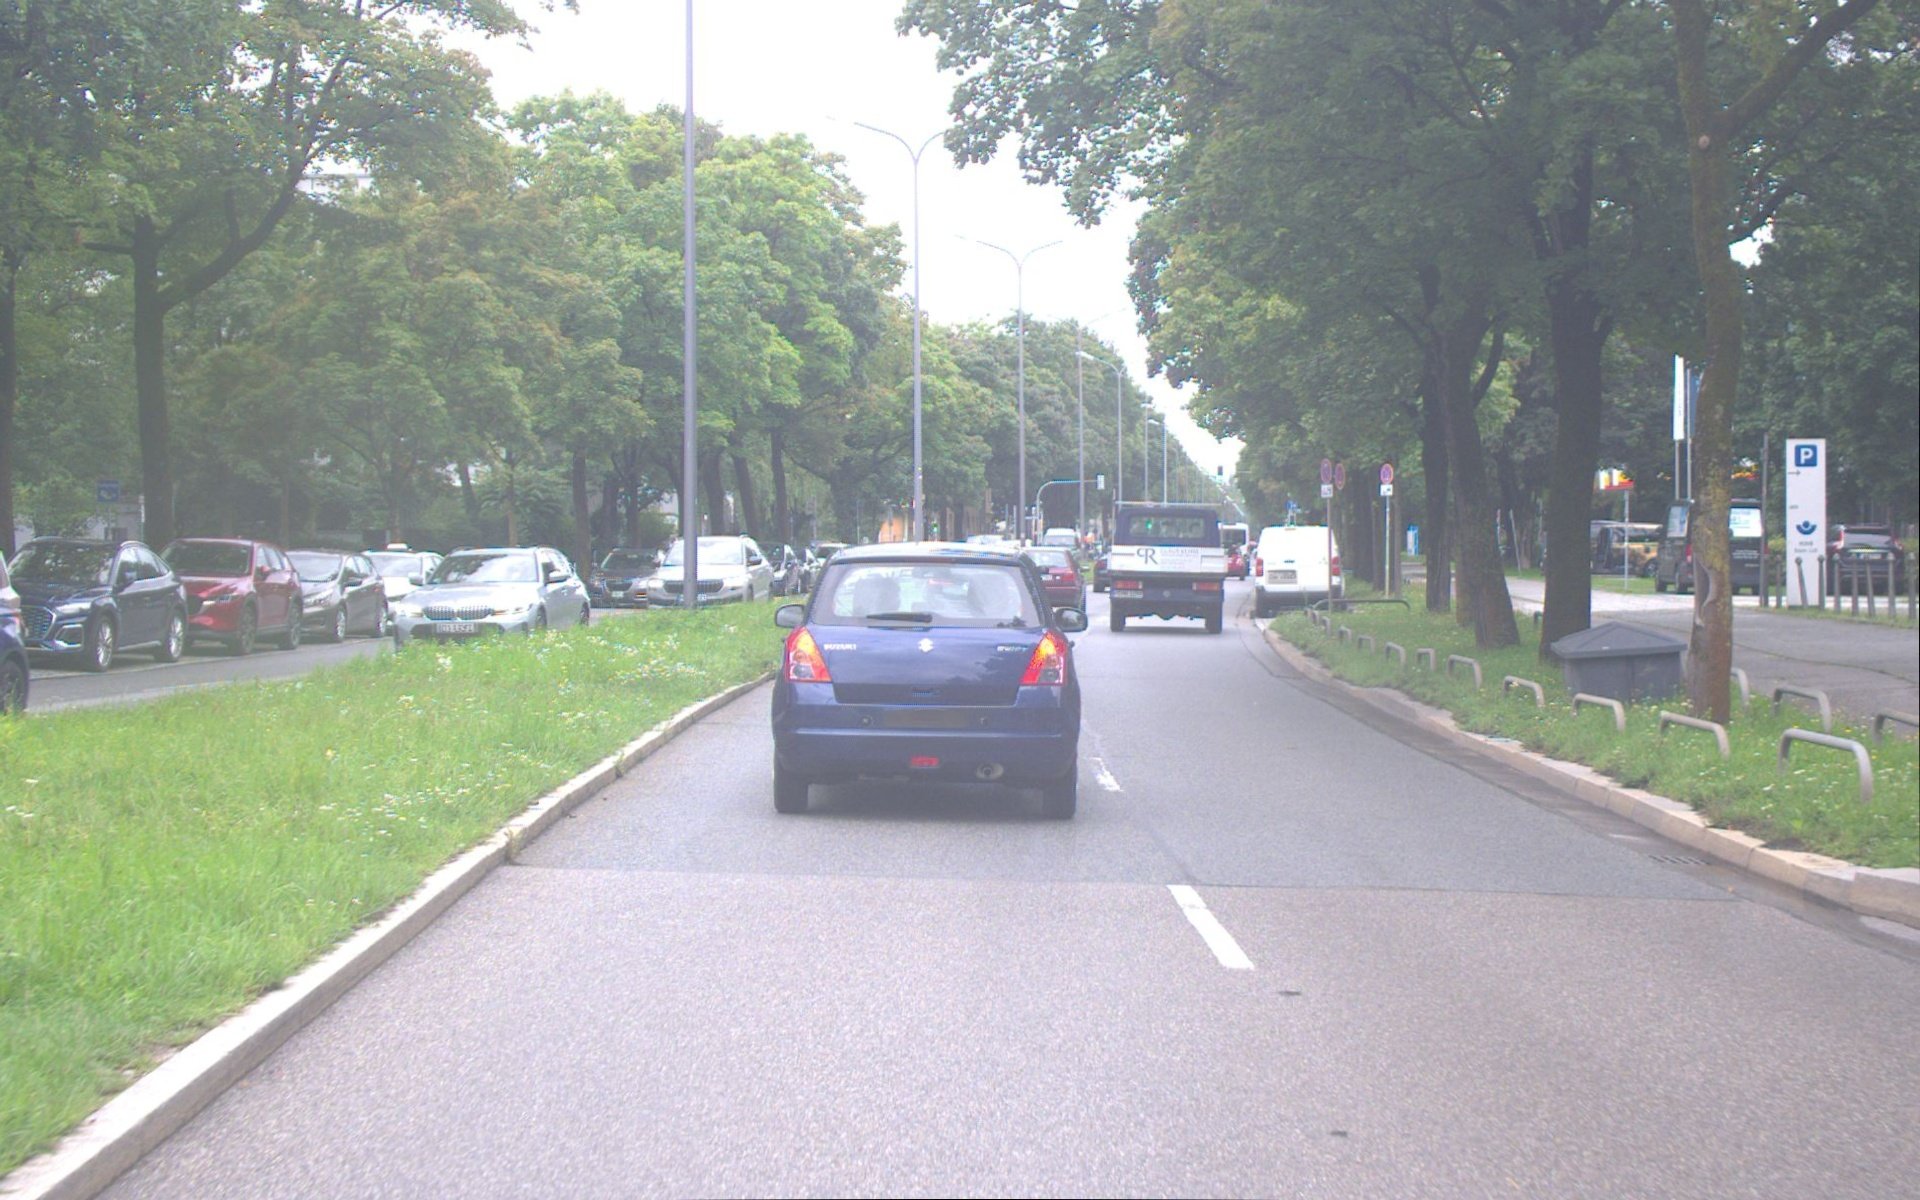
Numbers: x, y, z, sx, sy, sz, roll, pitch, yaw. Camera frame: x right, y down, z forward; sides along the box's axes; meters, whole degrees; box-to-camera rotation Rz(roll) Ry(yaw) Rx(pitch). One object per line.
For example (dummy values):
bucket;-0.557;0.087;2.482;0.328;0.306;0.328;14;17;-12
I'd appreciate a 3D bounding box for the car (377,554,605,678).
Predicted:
car;-5.940;0.165;44.117;1.915;1.479;4.864;-1;1;4

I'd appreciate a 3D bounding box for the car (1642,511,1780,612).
car;17.887;-0.933;82.161;2.265;2.299;6.267;-1;1;3

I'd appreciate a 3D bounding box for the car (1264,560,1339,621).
car;8.157;-0.241;82.169;1.702;1.392;4.232;-1;1;6

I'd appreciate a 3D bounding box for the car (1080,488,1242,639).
car;3.508;-0.636;58.992;2.419;2.436;5.085;1;1;7

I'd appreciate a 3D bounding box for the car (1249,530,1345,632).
car;7.412;-0.447;75.627;1.987;2.150;5.554;-1;1;6

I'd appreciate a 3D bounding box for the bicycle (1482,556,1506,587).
bicycle;19.989;-1.073;128.721;0.748;1.179;2.246;0;1;5

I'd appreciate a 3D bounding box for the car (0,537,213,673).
car;-11.295;0.023;44.643;1.739;1.638;4.684;1;1;5

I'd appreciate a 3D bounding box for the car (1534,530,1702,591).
car;22.559;-1.357;118.053;5.471;2.076;2.147;0;1;5

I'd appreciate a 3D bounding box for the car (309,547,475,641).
car;-9.896;-0.132;60.210;1.739;1.524;4.474;2;1;5

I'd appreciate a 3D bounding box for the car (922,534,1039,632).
car;0.354;-0.293;54.929;1.799;1.494;3.660;0;1;1

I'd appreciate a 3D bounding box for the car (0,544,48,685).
car;-11.929;0.163;39.201;1.647;1.608;3.818;1;1;7

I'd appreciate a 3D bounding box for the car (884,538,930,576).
car;-2.209;-1.783;143.533;1.691;1.560;3.079;0;1;3

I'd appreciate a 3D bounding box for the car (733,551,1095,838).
car;-0.172;0.468;19.892;1.896;1.494;3.660;0;1;2

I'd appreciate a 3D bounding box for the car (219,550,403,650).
car;-10.397;-0.029;55.361;1.739;1.477;4.333;2;1;5

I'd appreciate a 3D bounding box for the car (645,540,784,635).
car;-4.363;-0.246;61.689;1.766;1.619;4.376;-1;1;5

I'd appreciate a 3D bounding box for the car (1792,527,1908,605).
car;21.294;-0.824;82.414;1.842;1.812;4.471;-1;1;3

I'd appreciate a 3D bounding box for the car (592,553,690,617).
car;-7.685;-0.380;83.096;1.581;1.418;4.362;3;1;5

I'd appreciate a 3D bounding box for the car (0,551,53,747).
car;-7.779;0.374;23.808;1.692;1.397;3.967;0;1;4

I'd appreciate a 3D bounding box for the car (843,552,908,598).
car;-3.194;-0.963;130.584;1.832;1.604;4.490;2;1;6

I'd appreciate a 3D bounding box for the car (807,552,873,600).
car;-4.188;-0.852;120.572;1.757;1.589;4.489;2;1;4

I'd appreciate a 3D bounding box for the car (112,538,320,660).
car;-10.835;-0.054;50.365;1.739;1.646;4.606;2;1;3
